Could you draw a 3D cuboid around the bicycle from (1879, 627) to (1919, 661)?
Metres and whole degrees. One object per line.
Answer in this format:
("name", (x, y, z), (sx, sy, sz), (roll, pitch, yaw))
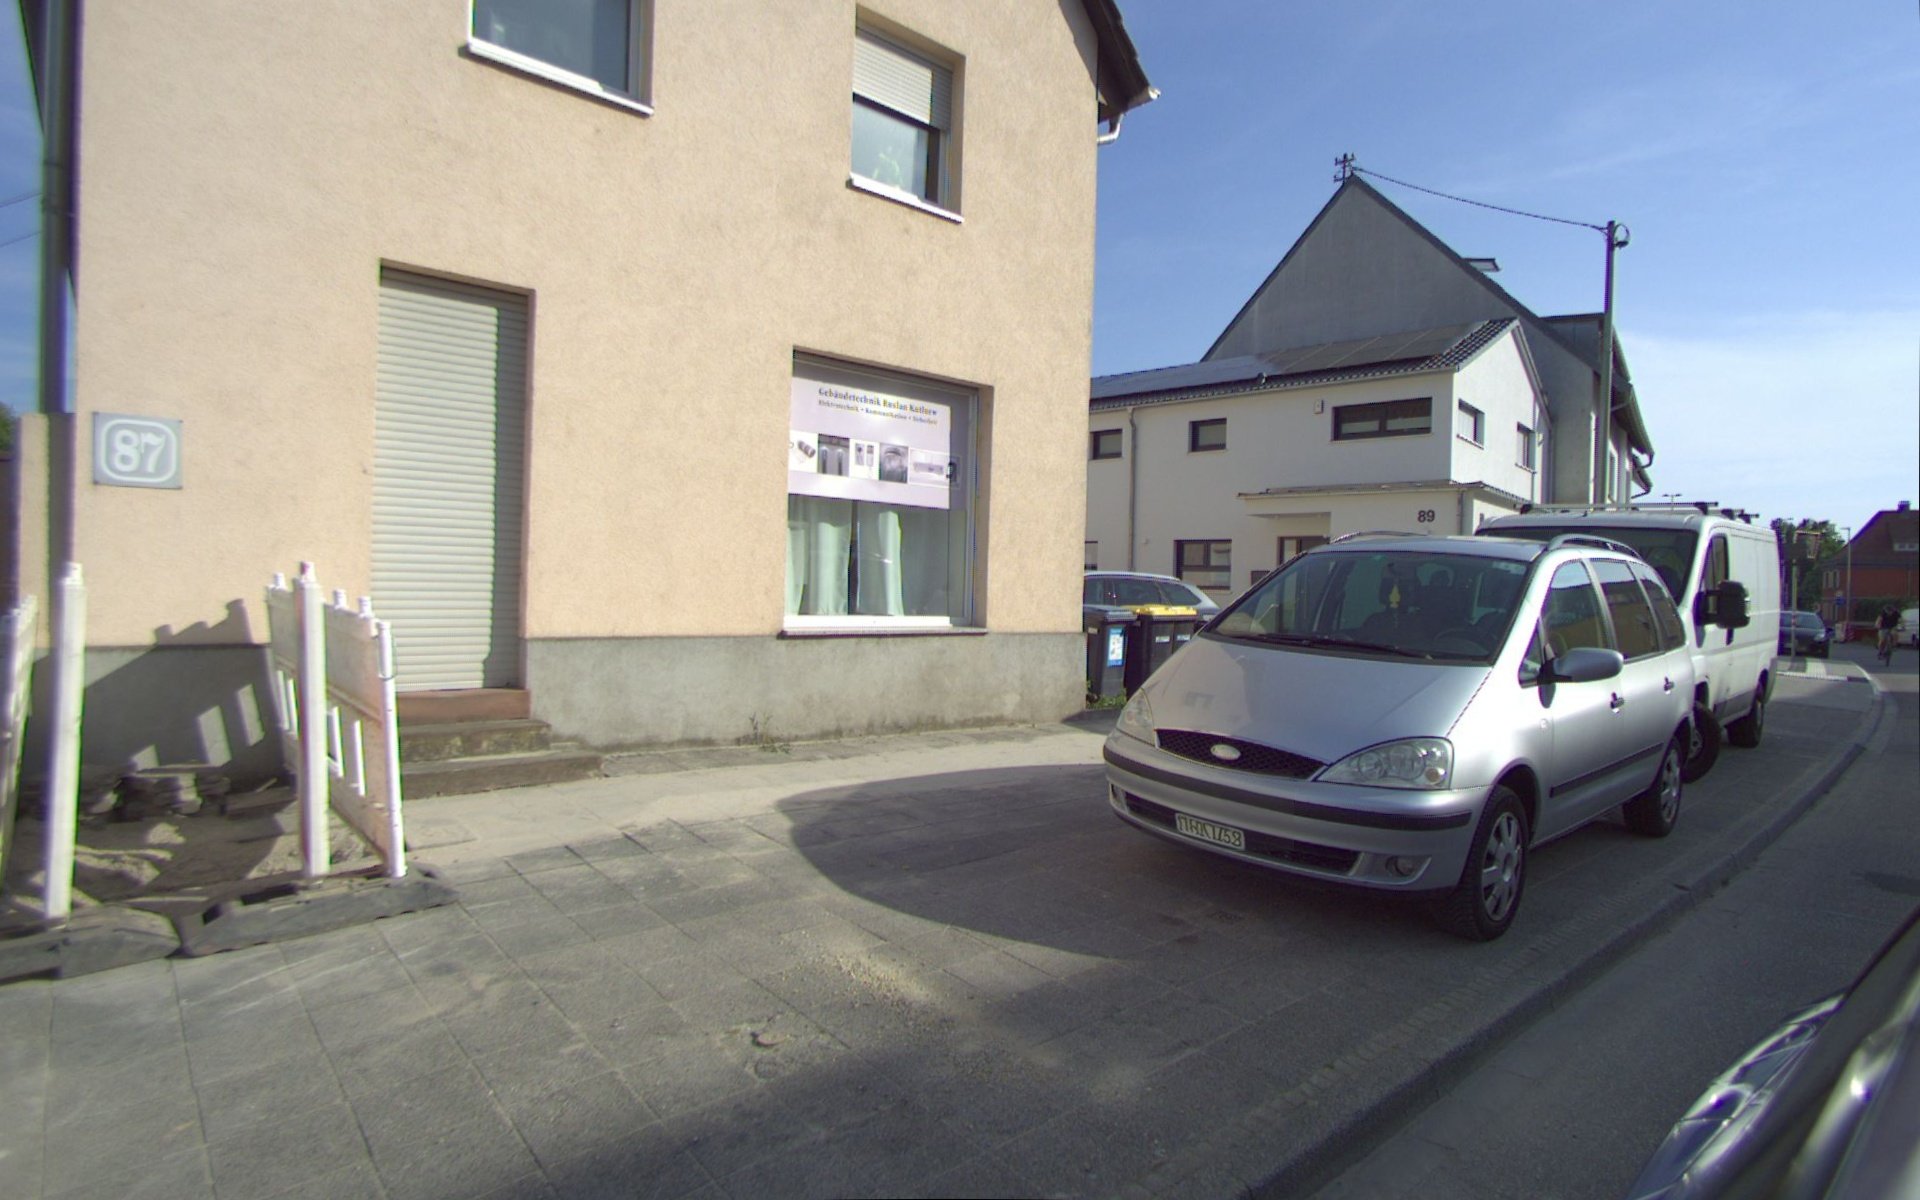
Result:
("bicycle", (26.083, 1.197, 28.100), (0.677, 0.865, 1.999), (0, 0, 38))

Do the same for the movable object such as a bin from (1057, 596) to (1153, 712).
("movable object such as a bin", (1.466, 0.524, 10.266), (0.615, 1.107, 0.728), (1, 0, -43))

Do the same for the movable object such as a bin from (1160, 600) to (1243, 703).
("movable object such as a bin", (2.760, 0.566, 11.575), (0.544, 1.107, 0.729), (1, 1, -43))

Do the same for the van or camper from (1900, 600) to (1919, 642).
("van or camper", (46.938, 1.023, 48.269), (1.984, 2.028, 4.868), (2, 1, 30))

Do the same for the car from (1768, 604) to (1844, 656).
("car", (26.389, 0.886, 31.663), (1.604, 1.438, 3.866), (3, 1, 37))

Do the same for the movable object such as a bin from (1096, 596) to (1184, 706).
("movable object such as a bin", (1.894, 0.515, 10.689), (0.544, 1.107, 0.728), (1, 0, -43))

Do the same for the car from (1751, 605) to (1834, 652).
("car", (29.284, 0.970, 35.696), (1.710, 1.415, 4.281), (6, 2, 33))

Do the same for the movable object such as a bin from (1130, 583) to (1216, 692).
("movable object such as a bin", (2.343, 0.397, 11.149), (0.544, 1.146, 0.728), (1, 0, -43))

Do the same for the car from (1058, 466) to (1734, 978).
("car", (2.703, 0.390, 5.636), (4.407, 1.762, 1.780), (1, 2, -43))

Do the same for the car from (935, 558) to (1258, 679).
("car", (1.801, 0.240, 13.581), (3.895, 1.424, 1.666), (2, 1, -18))

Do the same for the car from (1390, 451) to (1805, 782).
("car", (6.284, 0.094, 9.690), (4.914, 2.356, 2.177), (1, 2, -44))

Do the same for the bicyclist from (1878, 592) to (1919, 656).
("bicyclist", (26.146, 0.657, 28.152), (0.842, 1.711, 0.865), (1, 0, 39))
